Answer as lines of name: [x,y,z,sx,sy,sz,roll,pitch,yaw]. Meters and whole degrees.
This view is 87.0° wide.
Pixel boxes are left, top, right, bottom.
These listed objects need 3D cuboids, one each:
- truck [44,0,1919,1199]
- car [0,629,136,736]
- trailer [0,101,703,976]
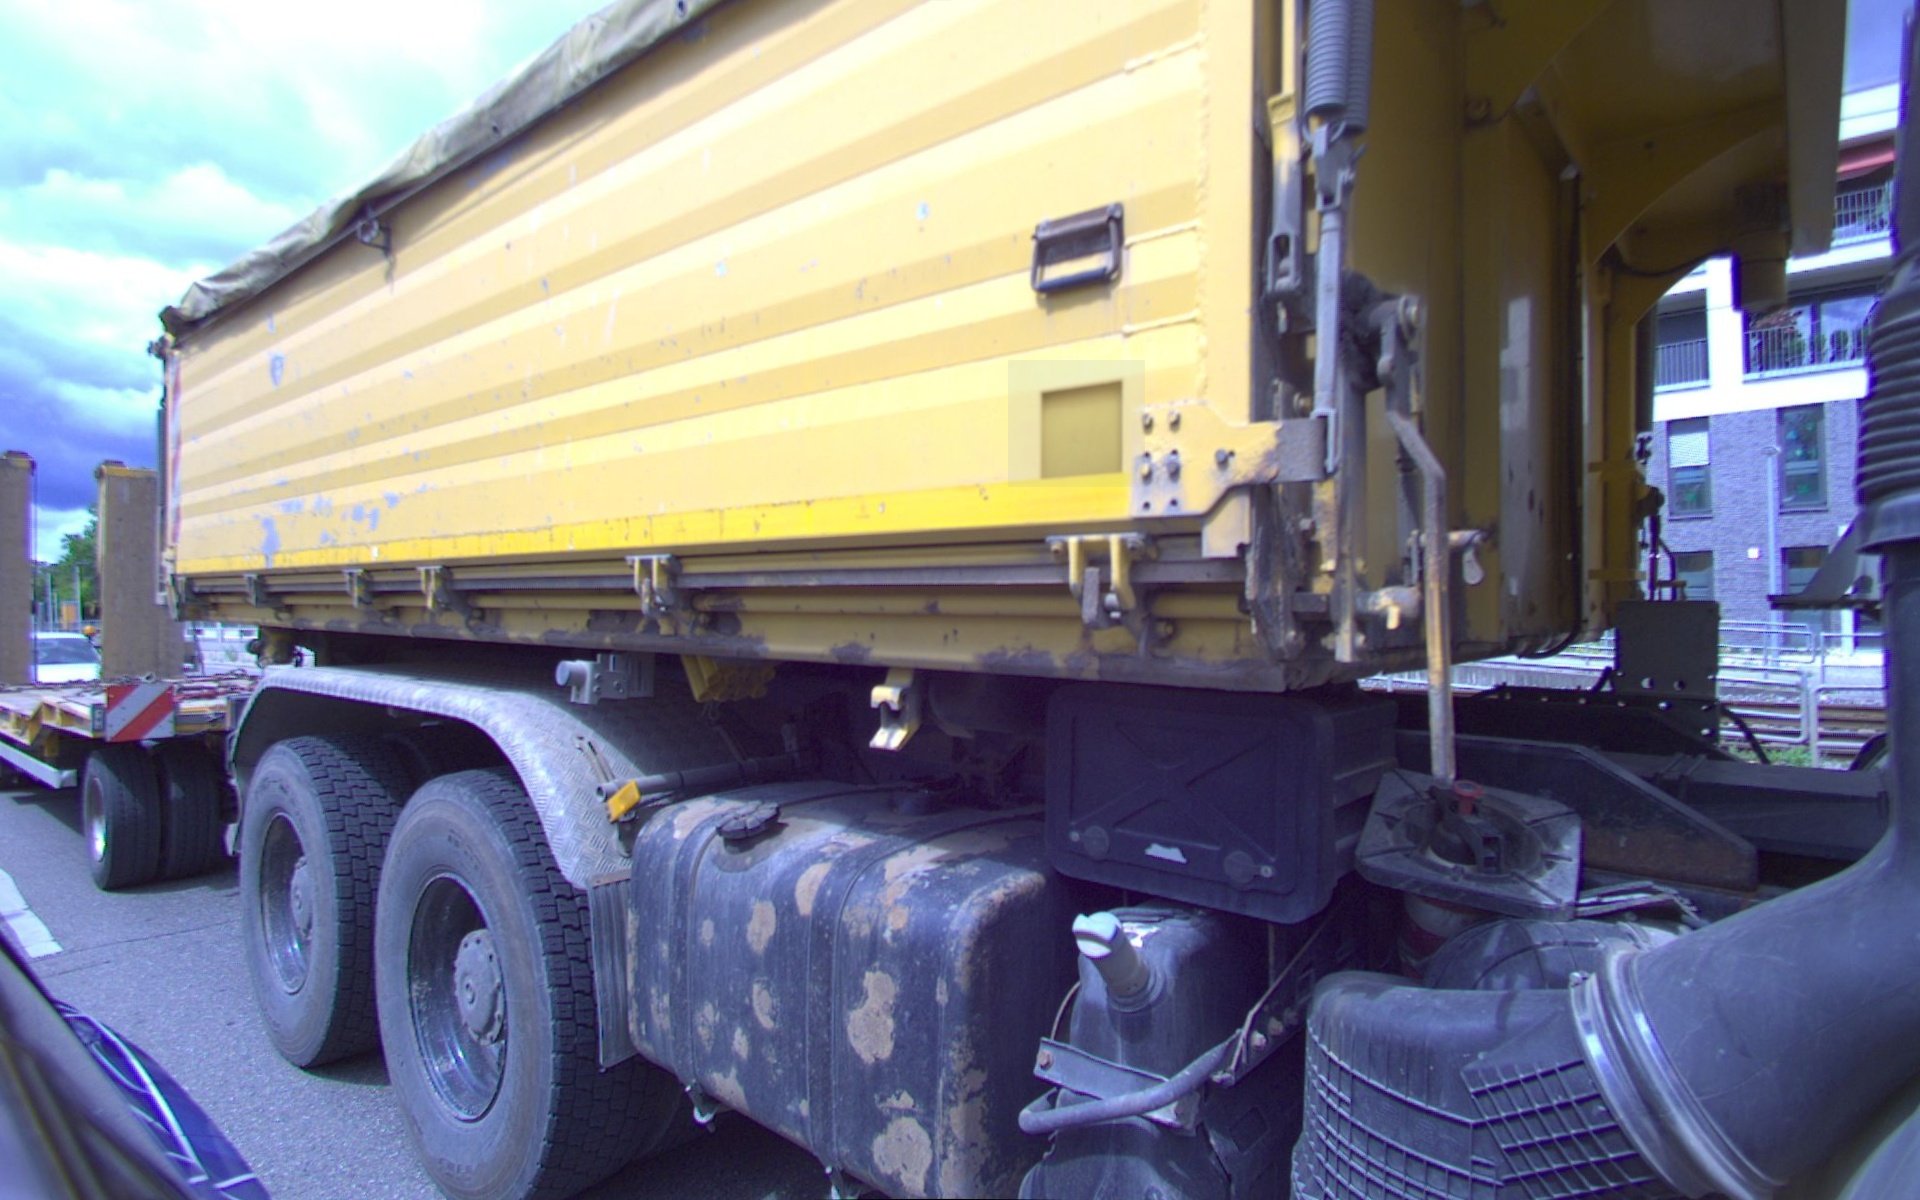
truck: [0.137,-0.225,2.882,7.999,3.420,3.019,-2,-1,40]
car: [-14.252,1.199,15.636,3.784,1.427,1.761,-2,-1,41]
trailer: [-6.851,-0.141,9.017,10.957,3.726,3.018,-2,-1,40]
